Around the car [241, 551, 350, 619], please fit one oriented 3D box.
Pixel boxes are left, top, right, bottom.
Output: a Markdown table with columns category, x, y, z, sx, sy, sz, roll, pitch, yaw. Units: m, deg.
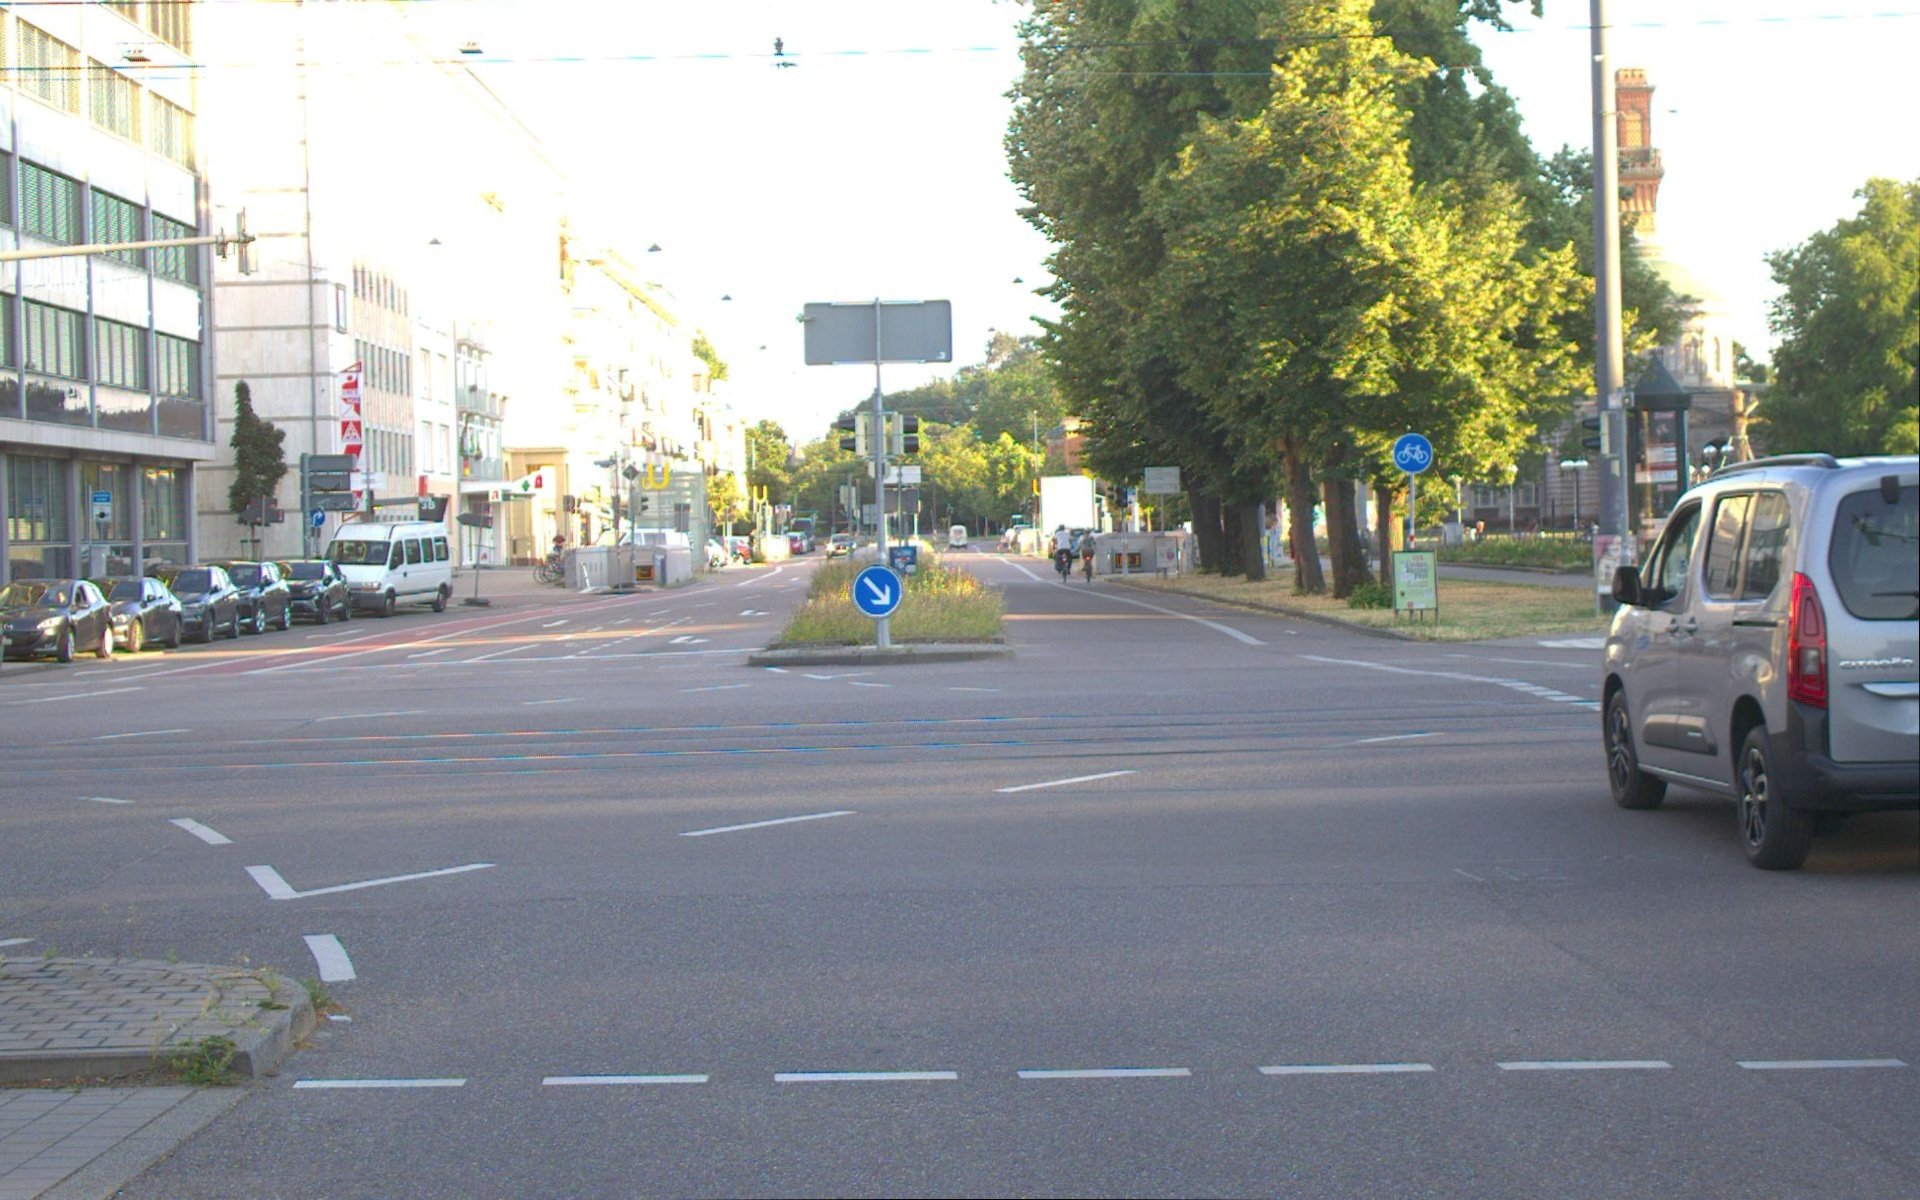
| category | x | y | z | sx | sy | sz | roll | pitch | yaw |
| --- | --- | --- | --- | --- | --- | --- | --- | --- | --- |
| car | -16.360 | -0.383 | 84.779 | 1.920 | 1.563 | 4.000 | -2 | 1 | -1 |

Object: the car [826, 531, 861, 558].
| category | x | y | z | sx | sy | sz | roll | pitch | yaw |
| --- | --- | --- | --- | --- | --- | --- | --- | --- | --- |
| car | -6.818 | -3.240 | 201.534 | 1.863 | 1.514 | 4.000 | -1 | 1 | 1 |

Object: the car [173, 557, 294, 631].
| category | x | y | z | sx | sy | sz | roll | pitch | yaw |
| --- | --- | --- | --- | --- | --- | --- | --- | --- | --- |
| car | -16.558 | -0.149 | 78.552 | 1.920 | 1.563 | 4.000 | -2 | 1 | -1 |

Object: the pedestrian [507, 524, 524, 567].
| category | x | y | z | sx | sy | sz | roll | pitch | yaw |
| --- | --- | --- | --- | --- | --- | --- | --- | --- | --- |
| pedestrian | -21.307 | -2.621 | 164.867 | 0.680 | 2.007 | 0.545 | -2 | 1 | 0 |

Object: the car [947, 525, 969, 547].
| category | x | y | z | sx | sy | sz | roll | pitch | yaw |
| --- | --- | --- | --- | --- | --- | --- | --- | --- | --- |
| car | -0.150 | -4.718 | 253.449 | 1.408 | 1.636 | 4.000 | -2 | 1 | -2 |

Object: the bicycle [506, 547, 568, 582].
| category | x | y | z | sx | sy | sz | roll | pitch | yaw |
| --- | --- | --- | --- | --- | --- | --- | --- | --- | --- |
| bicycle | -15.864 | -1.337 | 128.884 | 2.205 | 1.232 | 0.839 | -2 | 1 | -2 |

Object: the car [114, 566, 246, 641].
| category | x | y | z | sx | sy | sz | roll | pitch | yaw |
| --- | --- | --- | --- | --- | --- | --- | --- | --- | --- |
| car | -16.580 | 0.054 | 73.251 | 1.920 | 1.459 | 4.000 | -2 | 1 | -1 |

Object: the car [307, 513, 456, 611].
| category | x | y | z | sx | sy | sz | roll | pitch | yaw |
| --- | --- | --- | --- | --- | --- | --- | --- | --- | --- |
| car | -15.300 | -1.053 | 91.229 | 2.002 | 2.469 | 5.865 | -1 | 1 | 10 |

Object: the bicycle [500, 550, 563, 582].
| category | x | y | z | sx | sy | sz | roll | pitch | yaw |
| --- | --- | --- | --- | --- | --- | --- | --- | --- | --- |
| bicycle | -15.827 | -1.260 | 127.024 | 2.205 | 1.108 | 0.689 | -2 | 1 | -2 |

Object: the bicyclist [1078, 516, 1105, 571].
| category | x | y | z | sx | sy | sz | roll | pitch | yaw |
| --- | --- | --- | --- | --- | --- | --- | --- | --- | --- |
| bicyclist | 4.104 | -1.760 | 107.488 | 0.746 | 1.685 | 0.799 | -2 | 1 | -1 |

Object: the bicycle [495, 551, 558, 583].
| category | x | y | z | sx | sy | sz | roll | pitch | yaw |
| --- | --- | --- | --- | --- | --- | --- | --- | --- | --- |
| bicycle | -15.842 | -1.222 | 125.563 | 2.205 | 1.108 | 0.619 | -2 | 1 | -2 |

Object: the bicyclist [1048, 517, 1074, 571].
| category | x | y | z | sx | sy | sz | roll | pitch | yaw |
| --- | --- | --- | --- | --- | --- | --- | --- | --- | --- |
| bicyclist | 3.149 | -1.761 | 107.300 | 0.746 | 1.658 | 0.873 | -2 | 1 | -1 |

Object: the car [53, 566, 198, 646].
| category | x | y | z | sx | sy | sz | roll | pitch | yaw |
| --- | --- | --- | --- | --- | --- | --- | --- | --- | --- |
| car | -16.576 | 0.102 | 68.436 | 1.920 | 1.459 | 4.000 | -2 | 1 | -1 |

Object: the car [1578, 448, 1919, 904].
| category | x | y | z | sx | sy | sz | roll | pitch | yaw |
| --- | --- | --- | --- | --- | --- | --- | --- | --- | --- |
| car | 4.358 | 0.222 | 16.783 | 1.763 | 1.882 | 4.501 | -2 | 3 | -1 |

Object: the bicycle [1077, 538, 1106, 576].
| category | x | y | z | sx | sy | sz | roll | pitch | yaw |
| --- | --- | --- | --- | --- | --- | --- | --- | --- | --- |
| bicycle | 4.116 | -1.344 | 107.646 | 0.746 | 1.140 | 2.505 | -2 | 1 | -1 |

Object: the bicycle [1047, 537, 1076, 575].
| category | x | y | z | sx | sy | sz | roll | pitch | yaw |
| --- | --- | --- | --- | --- | --- | --- | --- | --- | --- |
| bicycle | 3.173 | -1.385 | 107.662 | 0.746 | 1.140 | 2.505 | -2 | 1 | -1 |

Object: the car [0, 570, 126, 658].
| category | x | y | z | sx | sy | sz | roll | pitch | yaw |
| --- | --- | --- | --- | --- | --- | --- | --- | --- | --- |
| car | -16.487 | 0.233 | 61.940 | 1.920 | 1.459 | 4.103 | -2 | 1 | -1 |
